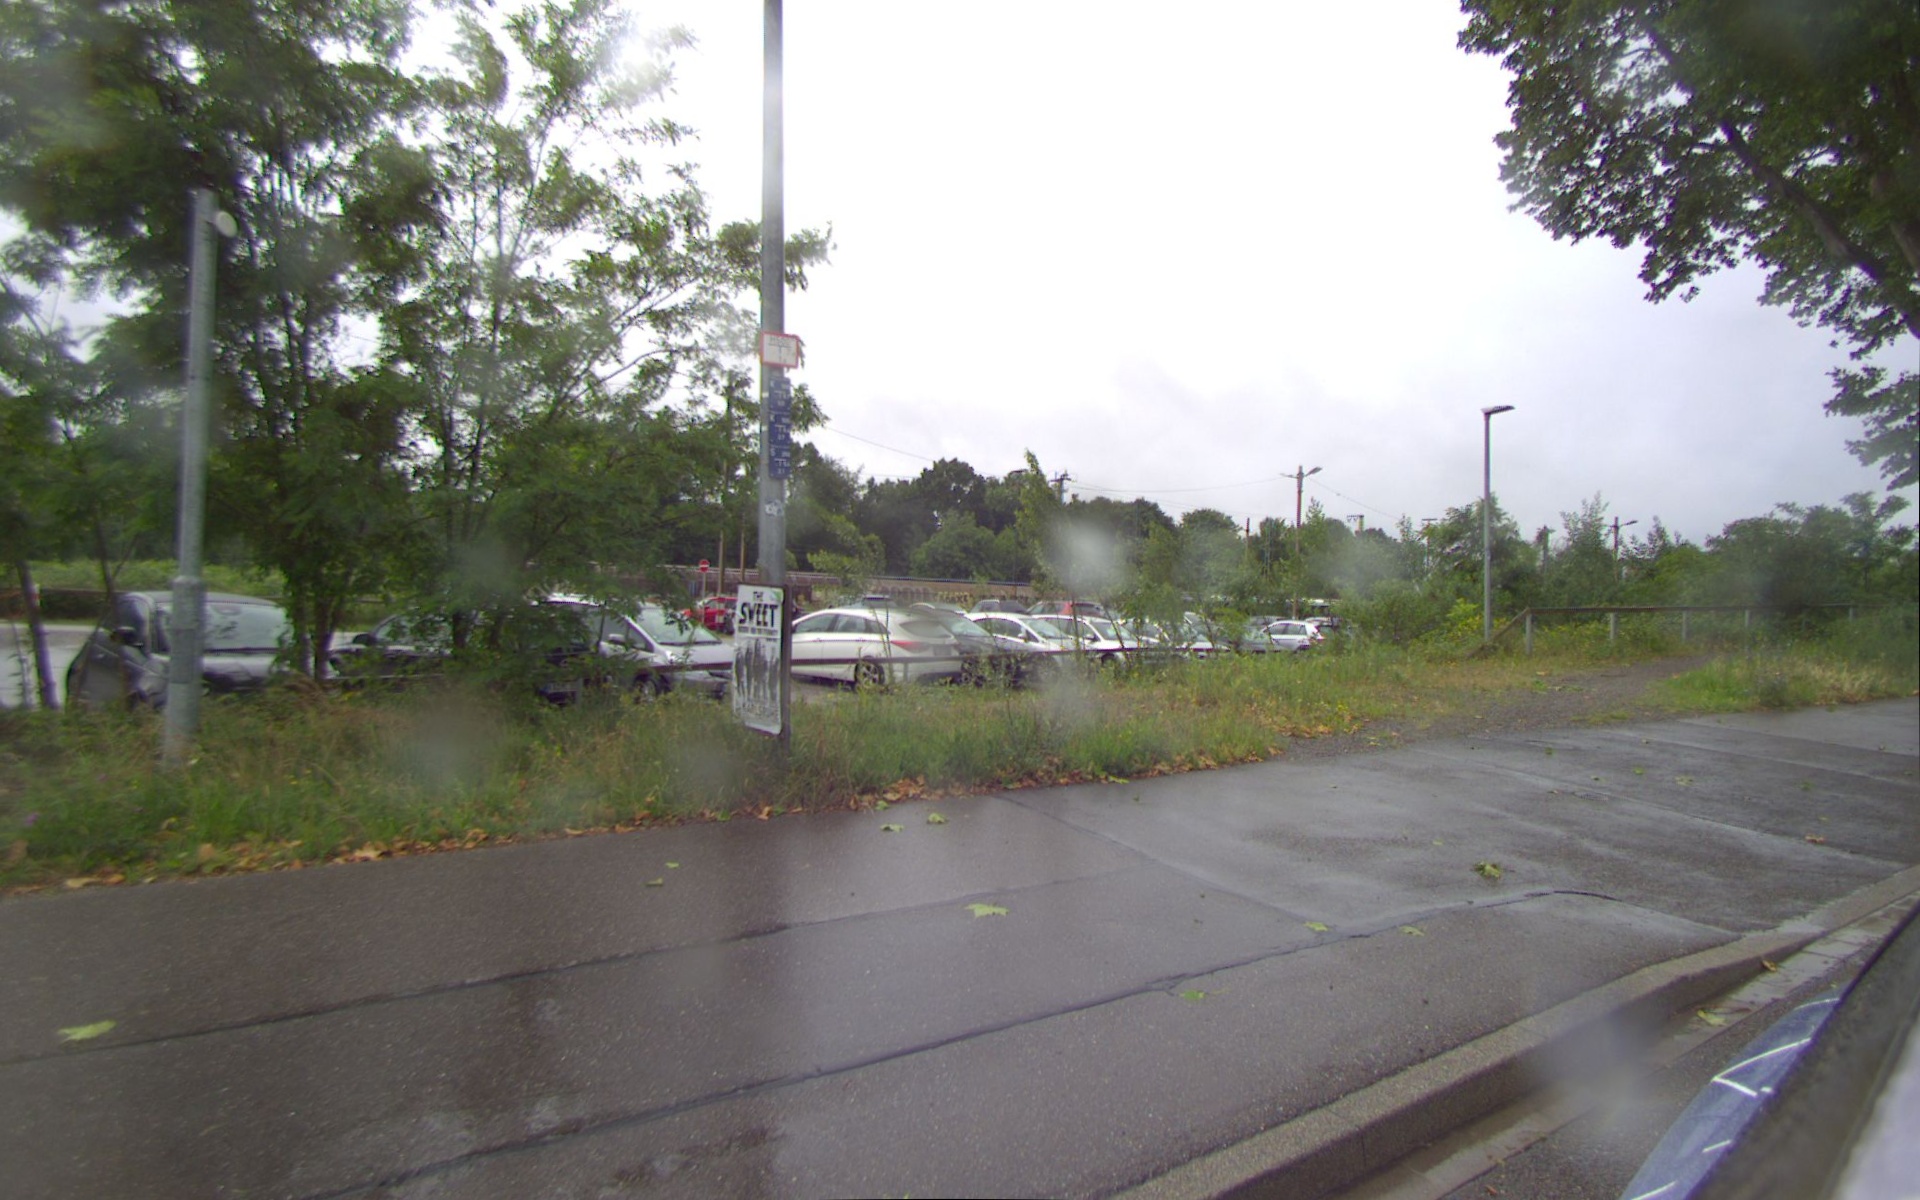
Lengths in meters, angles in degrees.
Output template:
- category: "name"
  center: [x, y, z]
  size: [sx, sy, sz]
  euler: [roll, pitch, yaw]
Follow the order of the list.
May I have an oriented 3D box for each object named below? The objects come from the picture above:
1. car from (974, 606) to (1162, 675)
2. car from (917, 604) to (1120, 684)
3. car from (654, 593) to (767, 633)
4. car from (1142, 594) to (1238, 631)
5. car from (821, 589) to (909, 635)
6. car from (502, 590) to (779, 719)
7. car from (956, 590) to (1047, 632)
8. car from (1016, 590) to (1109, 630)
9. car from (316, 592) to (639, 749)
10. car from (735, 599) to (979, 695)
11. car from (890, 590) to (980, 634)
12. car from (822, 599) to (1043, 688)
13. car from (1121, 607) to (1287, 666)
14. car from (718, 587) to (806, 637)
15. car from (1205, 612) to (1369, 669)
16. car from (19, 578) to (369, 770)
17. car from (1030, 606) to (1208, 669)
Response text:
- category: "car"
  center: [2.737, 0.976, 26.239]
  size: [4.528, 1.484, 1.974]
  euler: [2, 1, 41]
- category: "car"
  center: [1.325, 0.953, 23.902]
  size: [4.520, 1.579, 1.852]
  euler: [2, 1, 36]
- category: "car"
  center: [-9.945, 0.509, 40.380]
  size: [4.019, 1.527, 1.862]
  euler: [1, 1, -27]
- category: "car"
  center: [9.545, 0.488, 42.320]
  size: [1.780, 1.393, 4.007]
  euler: [1, 1, -25]
- category: "car"
  center: [-3.380, 0.377, 35.447]
  size: [1.780, 1.455, 4.007]
  euler: [1, 1, -25]
- category: "car"
  center: [-4.717, 0.680, 14.775]
  size: [3.975, 1.542, 1.852]
  euler: [2, 1, 35]
- category: "car"
  center: [1.510, 0.379, 38.242]
  size: [1.780, 1.455, 4.007]
  euler: [1, 1, -25]
- category: "car"
  center: [3.917, 0.365, 39.307]
  size: [1.780, 1.393, 4.007]
  euler: [1, 1, -25]
- category: "car"
  center: [-5.927, 0.710, 12.290]
  size: [3.975, 1.522, 1.852]
  euler: [2, 1, 35]
- category: "car"
  center: [-2.053, 0.801, 19.383]
  size: [4.619, 1.503, 1.852]
  euler: [2, 1, 36]
- category: "car"
  center: [-0.965, 0.397, 36.500]
  size: [1.780, 1.455, 4.007]
  euler: [1, 1, -25]
- category: "car"
  center: [-0.651, 0.828, 21.508]
  size: [4.520, 1.579, 1.852]
  euler: [2, 1, 36]
- category: "car"
  center: [7.179, 1.019, 30.152]
  size: [1.845, 1.448, 4.537]
  euler: [0, 1, -43]
- category: "car"
  center: [-6.651, 0.354, 33.666]
  size: [1.920, 1.492, 4.007]
  euler: [1, 1, -25]
- category: "car"
  center: [9.862, 1.165, 30.773]
  size: [1.845, 1.448, 4.387]
  euler: [0, 1, -43]
- category: "car"
  center: [-7.732, 0.575, 10.105]
  size: [3.975, 1.508, 1.683]
  euler: [2, 1, 35]
- category: "car"
  center: [4.345, 0.977, 27.965]
  size: [4.520, 1.448, 1.852]
  euler: [2, 1, 36]
